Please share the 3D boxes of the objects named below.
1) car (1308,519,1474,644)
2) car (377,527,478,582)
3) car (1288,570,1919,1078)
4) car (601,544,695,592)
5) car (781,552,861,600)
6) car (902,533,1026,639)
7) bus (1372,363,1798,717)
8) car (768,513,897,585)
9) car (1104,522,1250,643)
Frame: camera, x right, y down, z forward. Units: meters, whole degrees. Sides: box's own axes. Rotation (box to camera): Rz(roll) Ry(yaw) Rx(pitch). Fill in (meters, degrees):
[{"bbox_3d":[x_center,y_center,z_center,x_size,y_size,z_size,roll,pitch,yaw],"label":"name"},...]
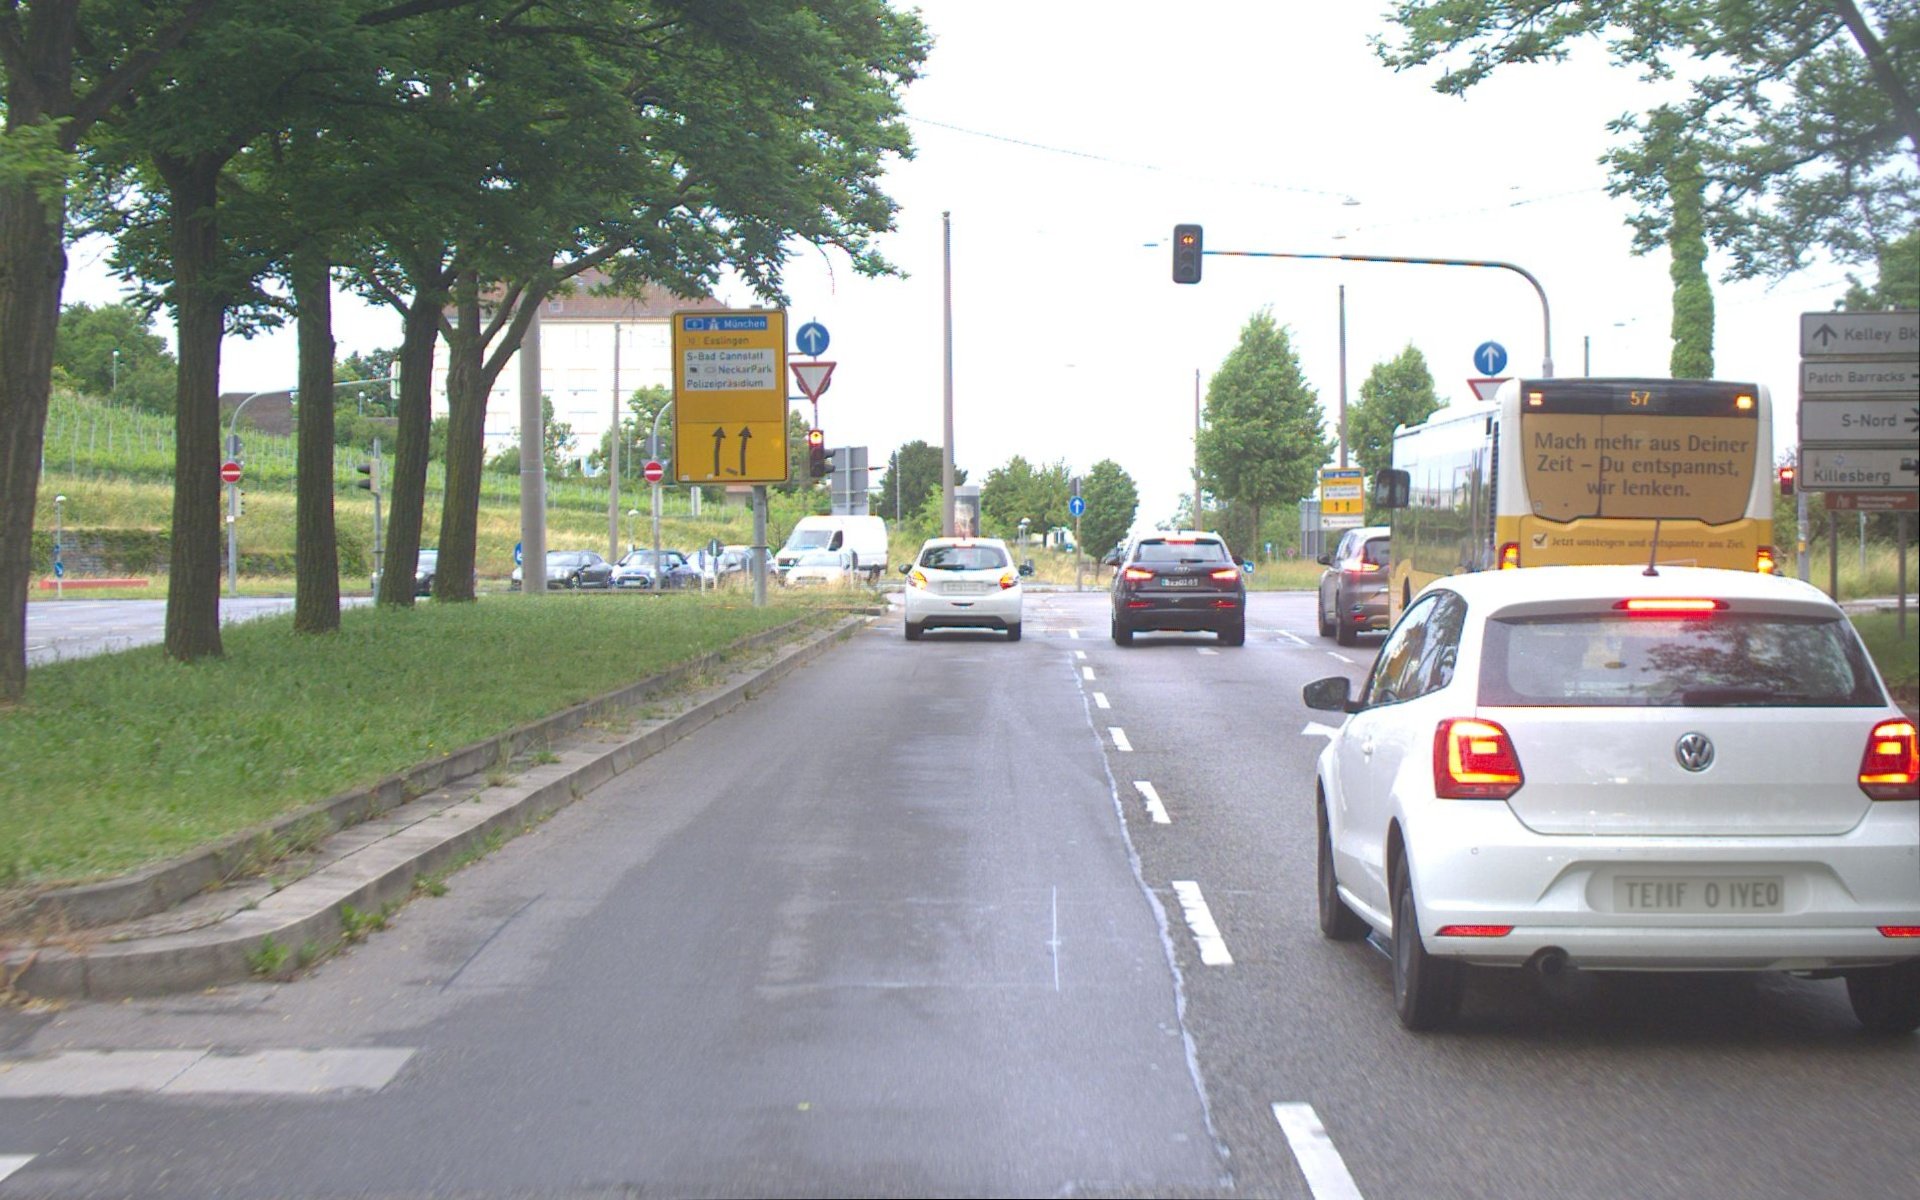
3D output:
[{"bbox_3d":[6.172,-0.304,49.628,1.865,1.668,4.566,0,2,1],"label":"car"},{"bbox_3d":[-16.423,-1.383,106.231,1.830,1.618,4.565,2,1,8],"label":"car"},{"bbox_3d":[2.199,0.639,11.881,1.741,1.427,3.812,1,1,0],"label":"car"},{"bbox_3d":[-9.511,-0.965,105.106,1.787,1.391,3.880,1,0,12],"label":"car"},{"bbox_3d":[-4.247,-0.742,105.650,1.776,1.420,4.373,-1,0,7],"label":"car"},{"bbox_3d":[0.097,-0.215,50.584,1.718,1.484,4.000,0,1,1],"label":"car"},{"bbox_3d":[6.386,-0.715,37.202,2.727,3.141,12.146,1,2,2],"label":"bus"},{"bbox_3d":[-4.721,-1.872,128.471,1.996,2.550,6.160,2,1,27],"label":"car"},{"bbox_3d":[3.036,-0.259,48.743,1.884,1.590,4.113,2,1,2],"label":"car"}]
